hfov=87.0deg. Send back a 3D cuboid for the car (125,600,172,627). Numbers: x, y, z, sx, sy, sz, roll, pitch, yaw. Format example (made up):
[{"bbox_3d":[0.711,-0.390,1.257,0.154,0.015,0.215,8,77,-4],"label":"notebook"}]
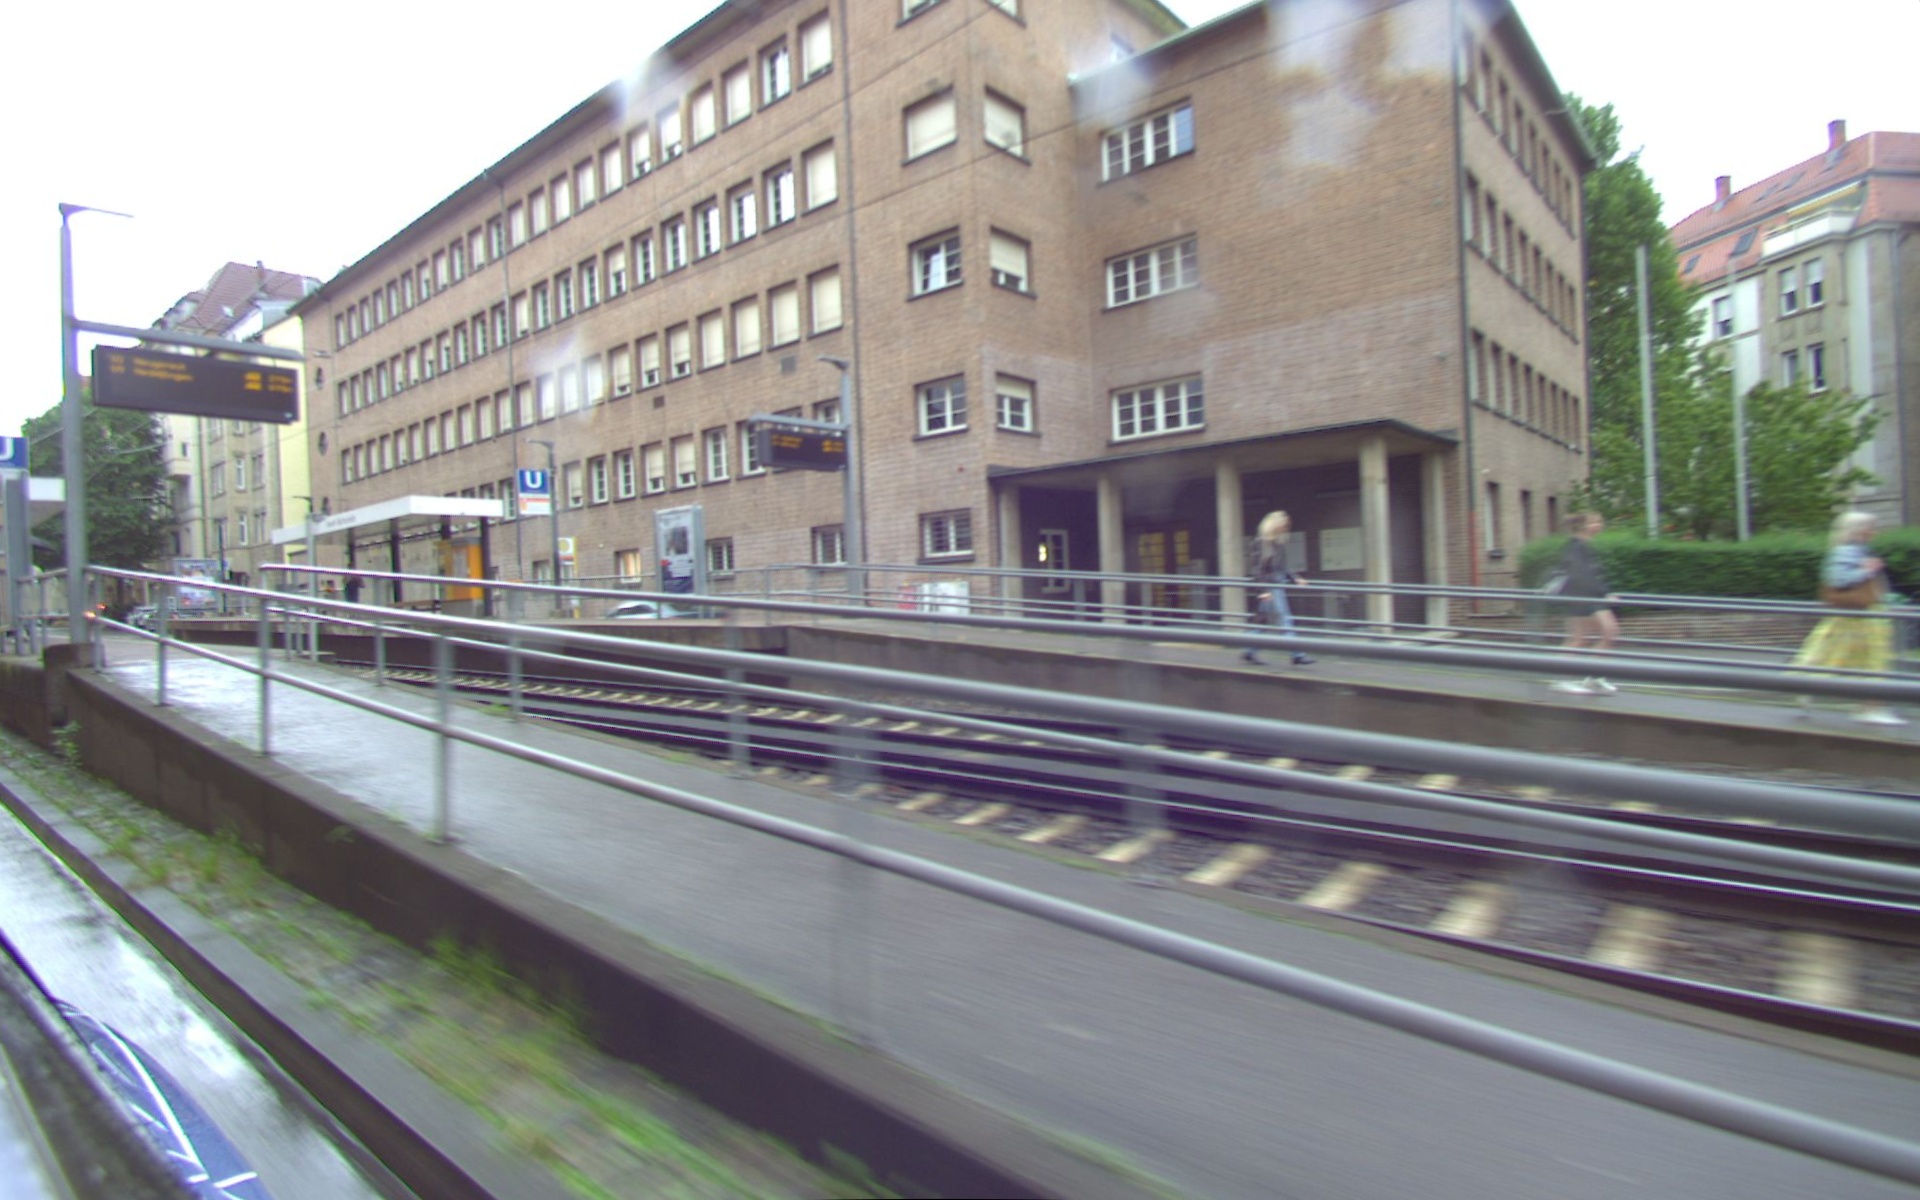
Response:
[{"bbox_3d":[-50.337,0.813,62.768,4.338,1.593,1.627,-1,1,43],"label":"car"}]

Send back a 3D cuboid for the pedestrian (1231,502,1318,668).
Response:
[{"bbox_3d":[3.393,-0.179,10.910,0.688,1.711,0.658,2,4,38],"label":"pedestrian"}]

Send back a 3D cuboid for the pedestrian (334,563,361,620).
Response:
[{"bbox_3d":[-18.500,-0.253,30.558,0.491,1.722,0.581,-1,-1,40],"label":"pedestrian"}]

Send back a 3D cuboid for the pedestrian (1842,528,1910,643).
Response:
[{"bbox_3d":[13.830,-0.208,15.291,0.688,1.688,0.598,-1,-1,38],"label":"pedestrian"}]

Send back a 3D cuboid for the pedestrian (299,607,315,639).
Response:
[{"bbox_3d":[-33.707,1.181,52.233,0.542,1.666,0.543,-1,-1,42],"label":"pedestrian"}]

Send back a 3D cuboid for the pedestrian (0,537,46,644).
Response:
[{"bbox_3d":[-16.443,-0.146,17.267,1.111,1.788,1.102,-1,1,41],"label":"pedestrian"}]

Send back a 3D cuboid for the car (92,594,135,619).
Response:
[{"bbox_3d":[-59.226,0.457,70.796,4.096,1.719,1.628,-1,0,41],"label":"car"}]

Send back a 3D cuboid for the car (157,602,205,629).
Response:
[{"bbox_3d":[-43.918,0.864,57.052,3.111,1.477,1.627,-1,1,43],"label":"car"}]

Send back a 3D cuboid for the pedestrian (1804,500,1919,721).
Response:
[{"bbox_3d":[7.169,0.059,8.061,0.640,1.659,0.736,2,3,41],"label":"pedestrian"}]

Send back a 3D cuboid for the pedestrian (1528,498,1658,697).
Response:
[{"bbox_3d":[5.772,-0.042,9.232,0.882,1.709,0.736,2,3,40],"label":"pedestrian"}]

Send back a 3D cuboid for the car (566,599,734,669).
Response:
[{"bbox_3d":[-7.618,0.785,24.584,4.761,1.508,1.626,-1,0,41],"label":"car"}]

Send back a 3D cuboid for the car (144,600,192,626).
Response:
[{"bbox_3d":[-46.679,0.756,59.631,3.632,1.414,1.627,-1,1,43],"label":"car"}]
